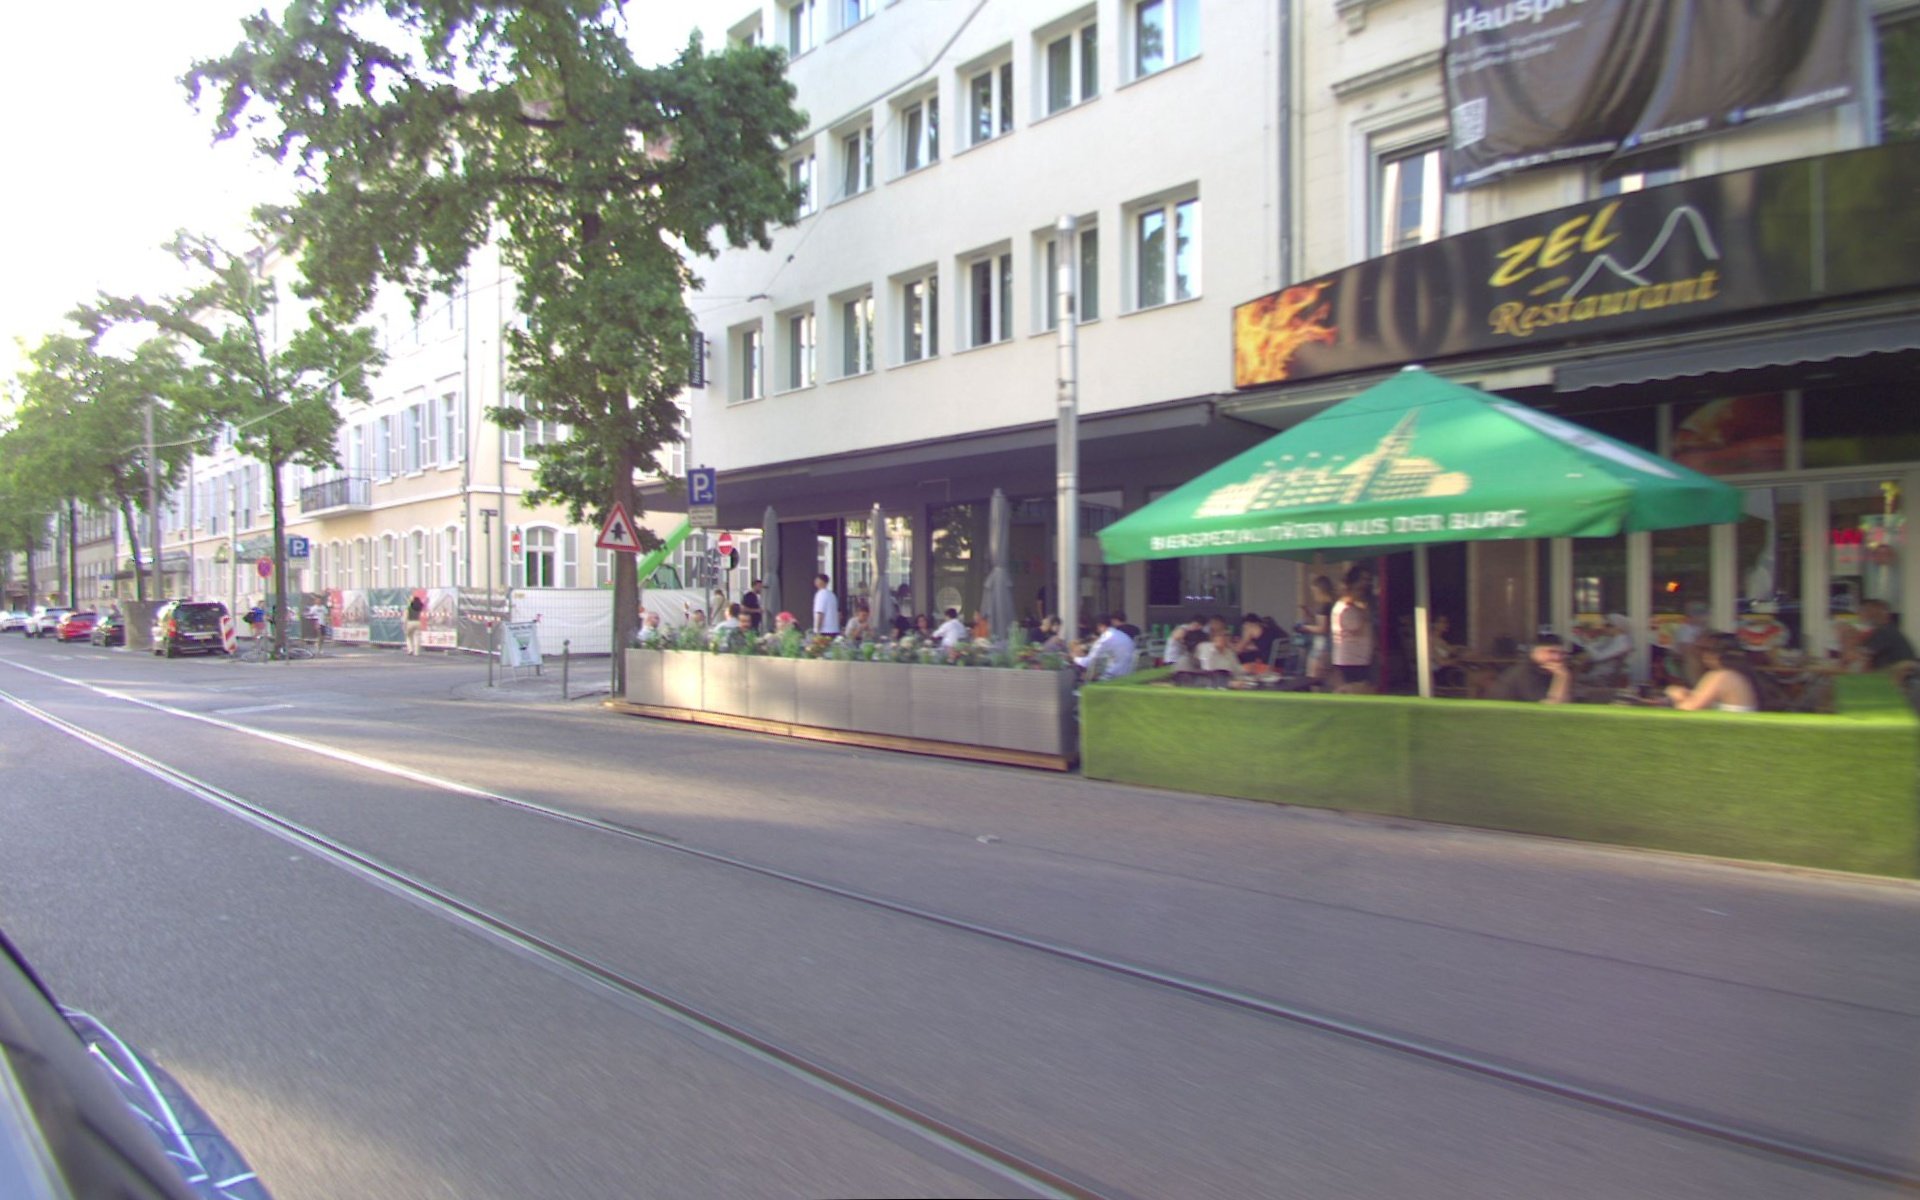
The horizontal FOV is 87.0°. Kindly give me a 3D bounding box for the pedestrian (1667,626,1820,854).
[{"bbox_3d":[4.823,0.811,6.229,0.696,1.254,0.612,-1,2,41],"label":"pedestrian"}]

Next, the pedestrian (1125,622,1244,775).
[{"bbox_3d":[2.032,0.849,9.159,0.772,1.269,0.700,-1,1,44],"label":"pedestrian"}]

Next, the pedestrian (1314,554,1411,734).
[{"bbox_3d":[4.151,0.422,10.429,0.697,1.770,0.670,-1,1,43],"label":"pedestrian"}]

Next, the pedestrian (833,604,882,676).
[{"bbox_3d":[-1.850,0.709,18.259,0.686,1.245,0.546,-1,1,42],"label":"pedestrian"}]

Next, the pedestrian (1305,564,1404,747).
[{"bbox_3d":[3.807,0.507,9.773,0.696,1.683,0.612,-1,1,41],"label":"pedestrian"}]

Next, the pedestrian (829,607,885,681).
[{"bbox_3d":[-1.858,0.786,18.276,0.738,1.279,0.638,-1,1,42],"label":"pedestrian"}]

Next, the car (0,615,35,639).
[{"bbox_3d":[-63.762,1.801,68.048,4.615,1.477,1.873,-1,2,42],"label":"car"}]

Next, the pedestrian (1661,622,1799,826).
[{"bbox_3d":[5.235,0.796,6.881,0.696,1.254,0.612,-1,2,41],"label":"pedestrian"}]

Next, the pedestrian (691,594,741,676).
[{"bbox_3d":[-5.368,0.759,22.235,0.851,1.754,0.800,-1,-1,-30],"label":"pedestrian"}]

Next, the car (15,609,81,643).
[{"bbox_3d":[-50.221,1.422,55.705,4.945,1.701,1.848,-1,2,39],"label":"car"}]

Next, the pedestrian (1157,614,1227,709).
[{"bbox_3d":[3.001,0.778,13.090,0.686,1.170,0.546,-1,1,42],"label":"pedestrian"}]

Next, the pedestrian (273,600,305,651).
[{"bbox_3d":[-24.841,0.940,37.453,0.876,1.826,0.712,-1,2,41],"label":"pedestrian"}]

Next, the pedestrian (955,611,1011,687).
[{"bbox_3d":[0.374,0.771,16.260,0.686,1.170,0.546,-1,1,42],"label":"pedestrian"}]

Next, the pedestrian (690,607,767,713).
[{"bbox_3d":[-3.243,0.815,14.172,0.807,1.397,0.682,-1,1,42],"label":"pedestrian"}]

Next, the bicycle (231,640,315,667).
[{"bbox_3d":[-19.611,1.514,28.900,1.283,0.613,1.775,-1,1,45],"label":"bicycle"}]

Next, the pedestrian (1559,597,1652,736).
[{"bbox_3d":[6.541,0.648,10.253,0.696,1.319,0.612,-1,2,41],"label":"pedestrian"}]

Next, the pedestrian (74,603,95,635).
[{"bbox_3d":[-50.291,1.089,58.159,0.933,1.755,0.736,-1,2,42],"label":"pedestrian"}]

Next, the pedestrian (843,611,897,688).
[{"bbox_3d":[-1.508,0.811,16.993,0.686,1.245,0.546,-1,1,42],"label":"pedestrian"}]

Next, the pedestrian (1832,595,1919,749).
[{"bbox_3d":[8.179,0.599,8.754,0.944,1.246,0.769,-1,2,41],"label":"pedestrian"}]

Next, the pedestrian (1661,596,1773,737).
[{"bbox_3d":[7.230,0.604,9.662,0.787,1.241,0.729,-1,2,41],"label":"pedestrian"}]

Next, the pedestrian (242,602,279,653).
[{"bbox_3d":[-25.474,0.990,36.860,0.884,1.795,0.856,-1,2,41],"label":"pedestrian"}]

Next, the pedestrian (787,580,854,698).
[{"bbox_3d":[-2.213,0.602,16.053,0.686,1.805,0.750,-1,1,38],"label":"pedestrian"}]

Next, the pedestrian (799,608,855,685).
[{"bbox_3d":[-2.346,0.807,17.835,0.727,1.291,0.620,-1,1,42],"label":"pedestrian"}]

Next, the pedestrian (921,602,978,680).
[{"bbox_3d":[-0.164,0.633,15.877,0.686,1.170,0.546,-1,1,42],"label":"pedestrian"}]

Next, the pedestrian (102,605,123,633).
[{"bbox_3d":[-49.467,1.088,59.083,0.933,1.592,0.736,-1,2,42],"label":"pedestrian"}]

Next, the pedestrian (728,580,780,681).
[{"bbox_3d":[-3.878,0.556,19.010,0.675,1.829,0.766,-2,1,-33],"label":"pedestrian"}]

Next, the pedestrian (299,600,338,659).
[{"bbox_3d":[-20.341,0.916,32.093,0.984,1.805,0.766,-1,2,43],"label":"pedestrian"}]

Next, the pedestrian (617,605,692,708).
[{"bbox_3d":[-4.391,0.792,14.539,0.807,1.397,0.682,-1,1,42],"label":"pedestrian"}]

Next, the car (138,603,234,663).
[{"bbox_3d":[-26.251,1.077,34.287,4.559,1.846,1.837,-1,0,43],"label":"car"}]

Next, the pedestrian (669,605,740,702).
[{"bbox_3d":[-3.877,0.784,15.350,0.807,1.397,0.682,-1,1,42],"label":"pedestrian"}]

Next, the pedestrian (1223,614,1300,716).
[{"bbox_3d":[3.691,0.776,12.396,0.687,1.183,0.595,-1,1,42],"label":"pedestrian"}]

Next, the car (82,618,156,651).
[{"bbox_3d":[-36.171,1.462,43.497,4.505,1.254,1.700,-1,2,41],"label":"car"}]

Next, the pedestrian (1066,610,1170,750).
[{"bbox_3d":[1.640,0.795,10.528,0.781,1.357,0.700,-1,1,44],"label":"pedestrian"}]

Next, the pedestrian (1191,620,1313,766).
[{"bbox_3d":[2.769,0.840,9.607,0.869,1.269,0.700,-1,1,44],"label":"pedestrian"}]

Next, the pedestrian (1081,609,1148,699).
[{"bbox_3d":[2.109,0.724,13.807,0.686,1.170,0.546,-1,1,42],"label":"pedestrian"}]

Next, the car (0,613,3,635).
[{"bbox_3d":[-78.186,1.961,80.957,4.763,1.754,1.927,-1,2,41],"label":"car"}]

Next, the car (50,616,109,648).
[{"bbox_3d":[-42.847,1.516,49.210,4.140,1.416,1.642,-1,2,42],"label":"car"}]

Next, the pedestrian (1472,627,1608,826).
[{"bbox_3d":[4.054,0.837,7.066,0.696,1.254,0.612,-1,2,41],"label":"pedestrian"}]

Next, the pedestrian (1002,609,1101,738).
[{"bbox_3d":[1.007,0.780,11.136,0.807,1.321,0.682,-1,1,42],"label":"pedestrian"}]

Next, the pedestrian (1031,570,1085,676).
[{"bbox_3d":[1.743,0.403,18.068,0.754,1.833,0.688,-2,1,-9],"label":"pedestrian"}]

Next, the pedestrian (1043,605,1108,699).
[{"bbox_3d":[1.686,0.743,14.759,0.686,1.308,0.596,-1,1,42],"label":"pedestrian"}]

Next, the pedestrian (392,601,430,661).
[{"bbox_3d":[-15.789,0.883,29.098,0.967,1.669,0.699,-2,-2,43],"label":"pedestrian"}]

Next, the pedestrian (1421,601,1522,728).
[{"bbox_3d":[5.397,0.652,10.672,0.798,1.251,0.663,-1,1,41],"label":"pedestrian"}]

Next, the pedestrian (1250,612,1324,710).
[{"bbox_3d":[4.149,0.754,12.837,0.687,1.167,0.595,-1,1,42],"label":"pedestrian"}]
